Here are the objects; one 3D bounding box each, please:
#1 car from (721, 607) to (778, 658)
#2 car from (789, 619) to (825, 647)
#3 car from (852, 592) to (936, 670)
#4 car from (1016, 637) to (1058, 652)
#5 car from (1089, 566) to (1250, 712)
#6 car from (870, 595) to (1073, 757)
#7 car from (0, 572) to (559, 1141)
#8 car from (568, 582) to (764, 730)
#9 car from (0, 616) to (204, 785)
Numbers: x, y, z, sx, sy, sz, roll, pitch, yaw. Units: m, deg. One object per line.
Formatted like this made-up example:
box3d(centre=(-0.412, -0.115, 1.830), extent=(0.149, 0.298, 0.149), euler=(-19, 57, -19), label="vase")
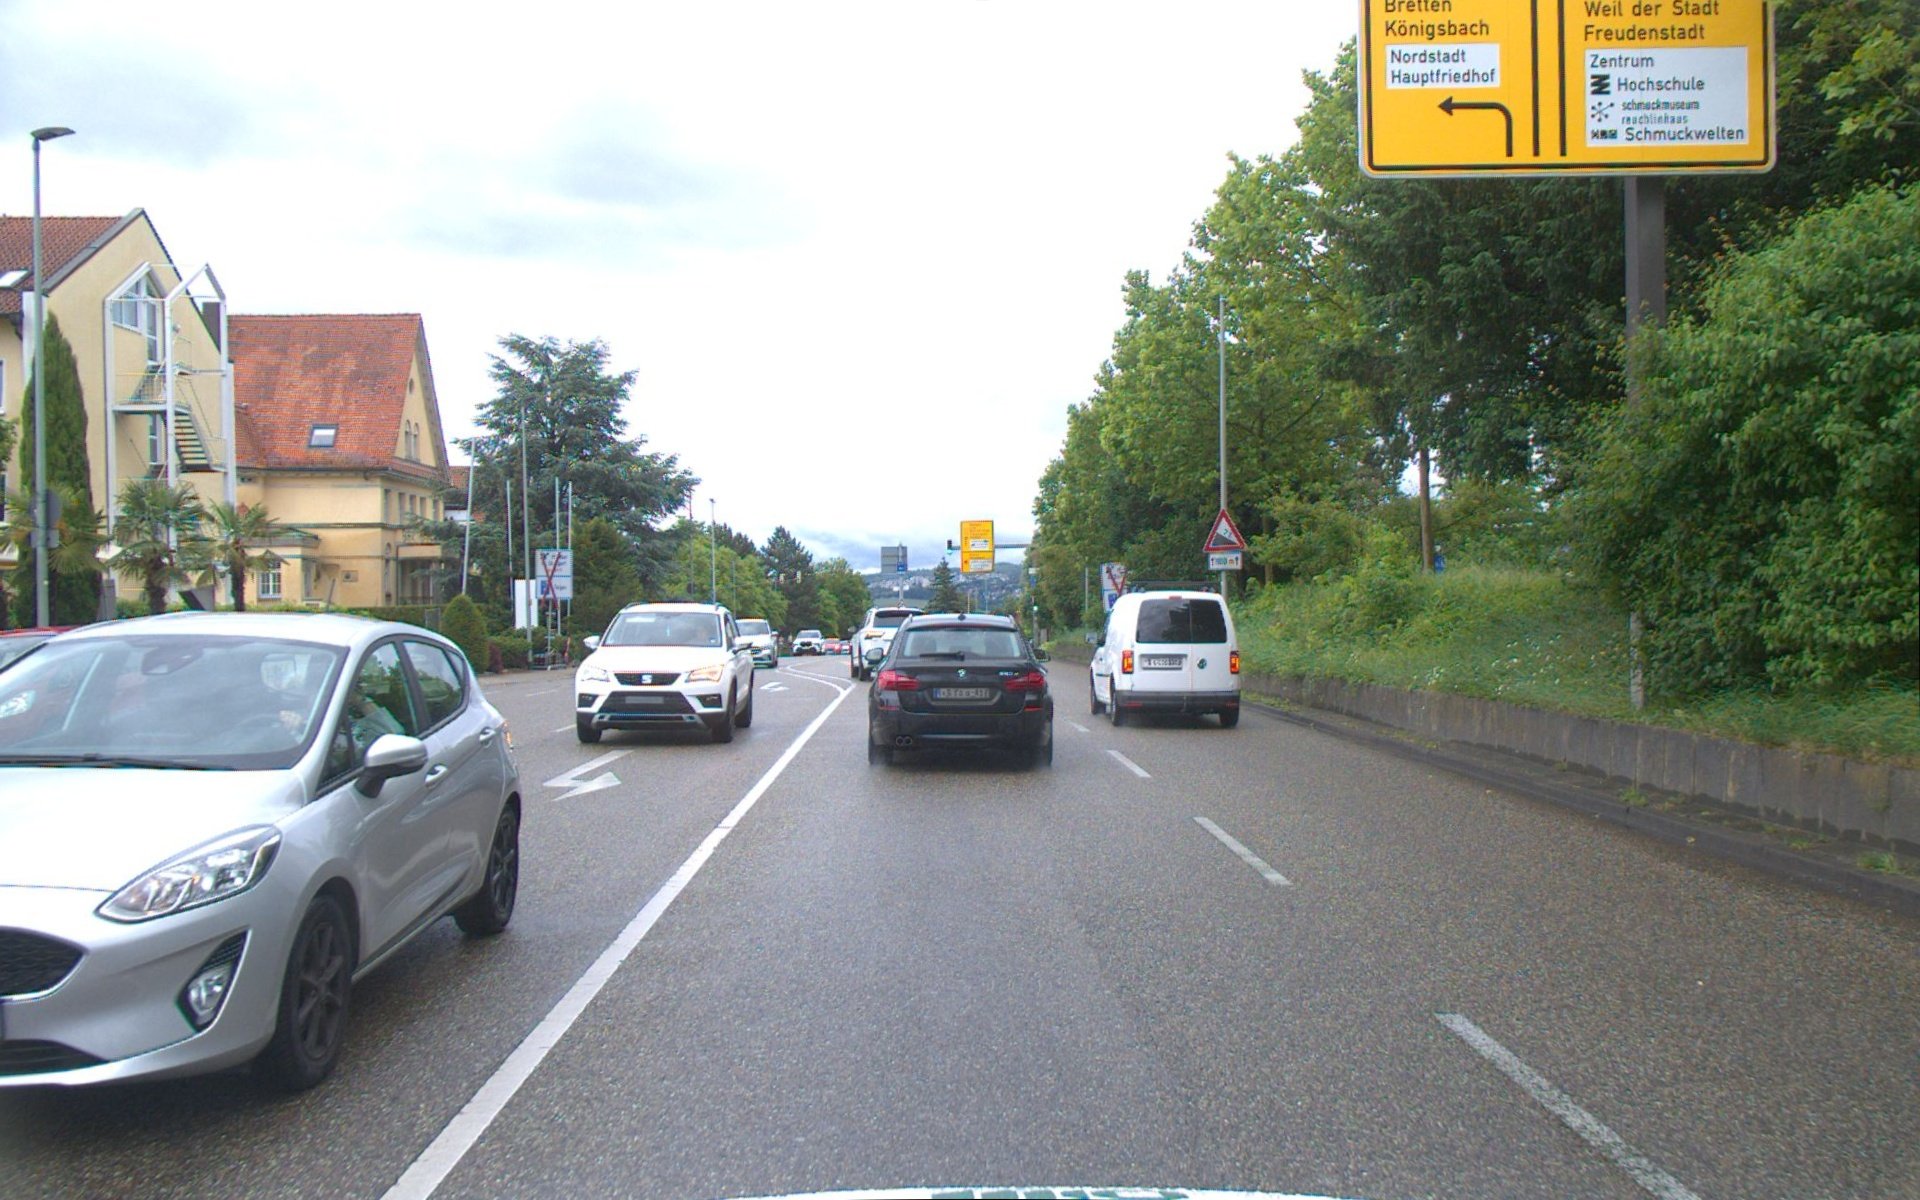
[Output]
box3d(centre=(-6.741, 1.048, 53.114), extent=(1.716, 1.534, 4.295), euler=(-1, -1, -7), label="car")
box3d(centre=(-10.587, 2.270, 114.788), extent=(1.878, 1.793, 5.142), euler=(-3, -1, 0), label="car")
box3d(centre=(-1.500, 0.688, 39.115), extent=(1.830, 1.703, 4.000), euler=(0, 1, 0), label="car")
box3d(centre=(7.301, 4.184, 156.484), extent=(3.903, 1.401, 1.586), euler=(0, -1, 3), label="car")
box3d(centre=(2.878, 0.468, 23.462), extent=(1.729, 1.910, 3.805), euler=(0, 1, -1), label="car")
box3d(centre=(0.102, 0.691, 17.183), extent=(1.860, 1.467, 4.000), euler=(0, 0, 0), label="car")
box3d(centre=(-2.743, 0.658, 6.229), extent=(1.569, 1.466, 3.947), euler=(0, 0, -1), label="car")
box3d(centre=(-3.503, 0.641, 20.415), extent=(1.751, 1.609, 4.238), euler=(-1, -1, -1), label="car")
box3d(centre=(-9.664, 0.994, 17.392), extent=(1.604, 1.560, 3.971), euler=(-3, 0, -1), label="car")
